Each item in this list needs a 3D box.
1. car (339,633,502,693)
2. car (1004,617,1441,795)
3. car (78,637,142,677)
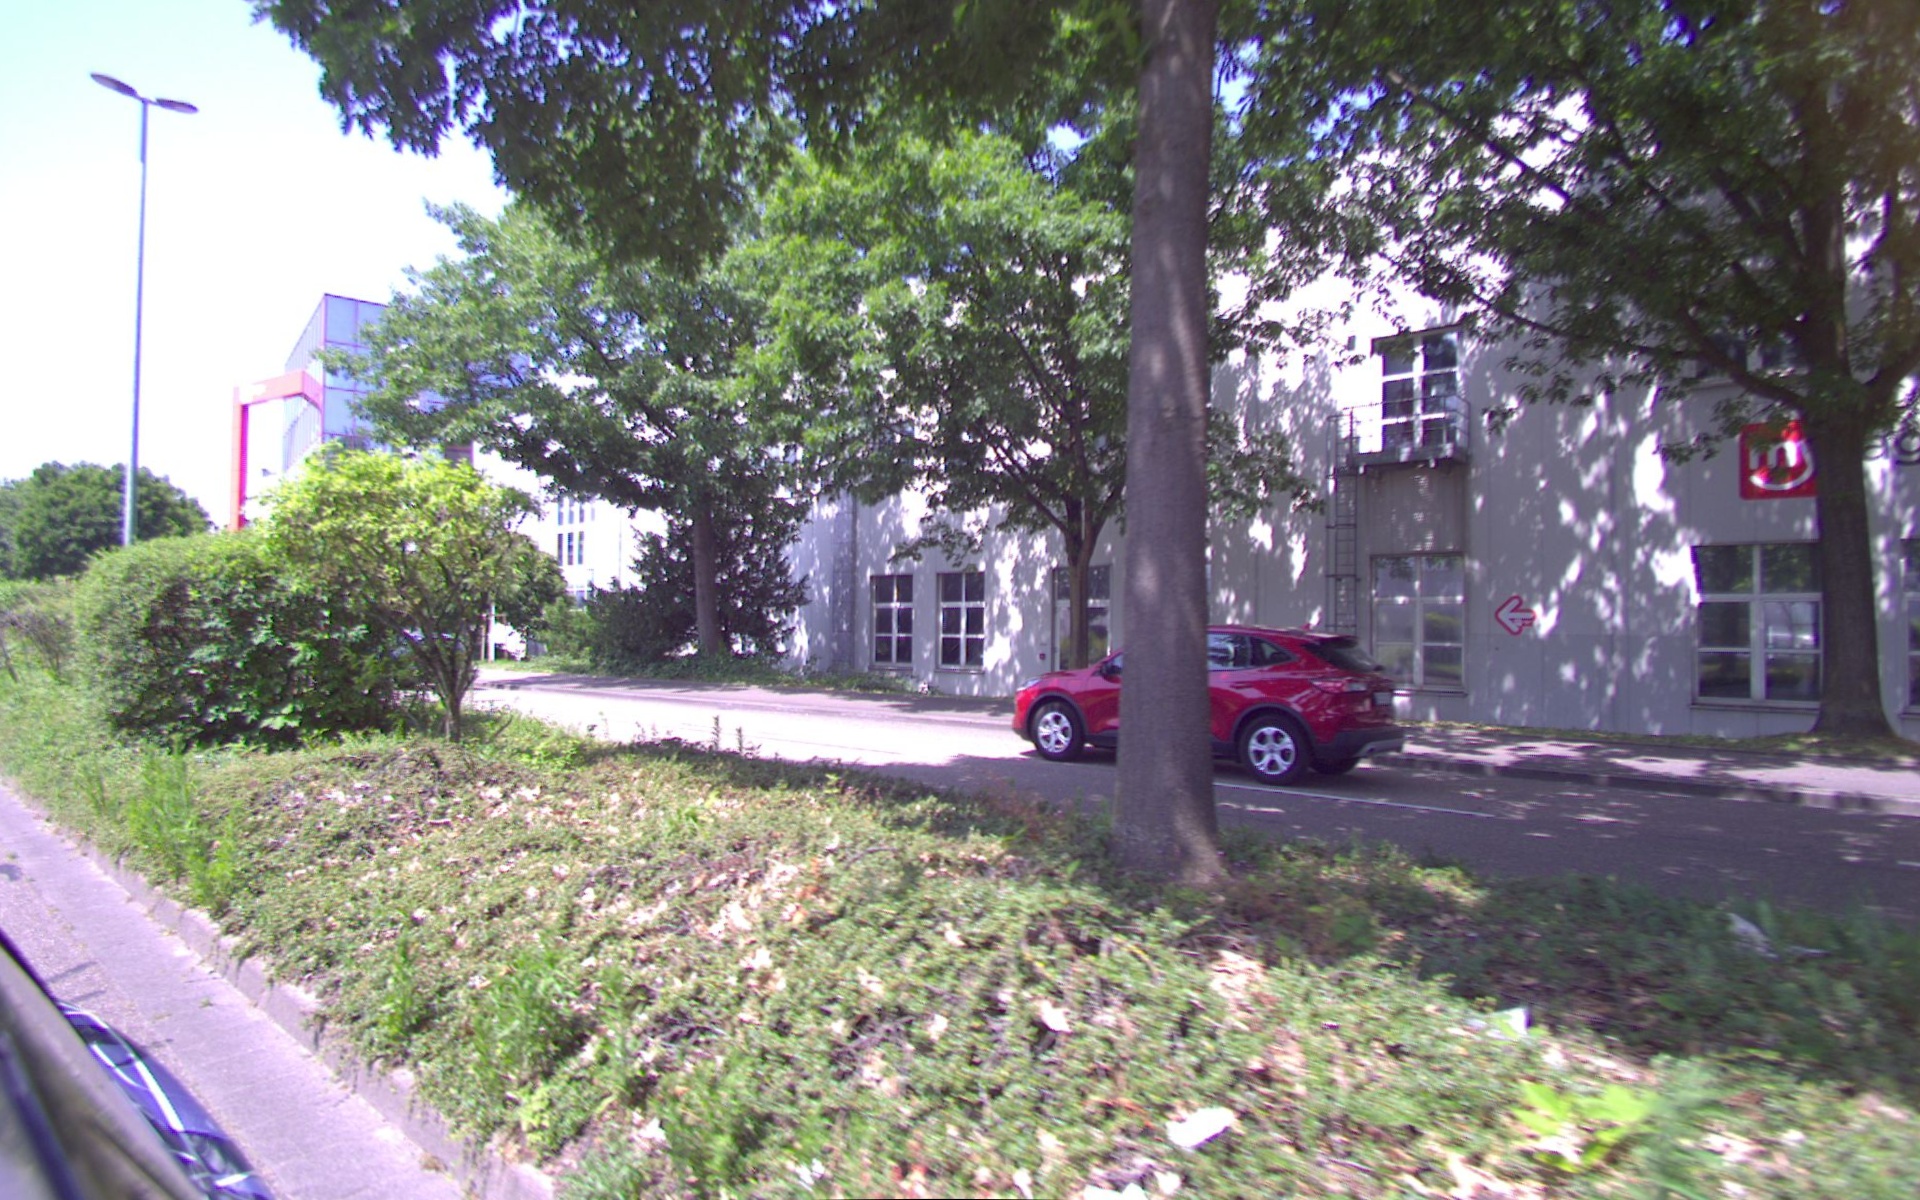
[{"bbox_3d":[-14.622,1.657,27.290,5.238,1.462,2.104,-1,-4,41],"label":"car"},{"bbox_3d":[2.836,1.079,11.578,4.517,1.648,1.802,-2,-4,41],"label":"car"},{"bbox_3d":[-39.244,2.593,46.710,3.628,1.664,1.671,0,-1,40],"label":"car"}]
